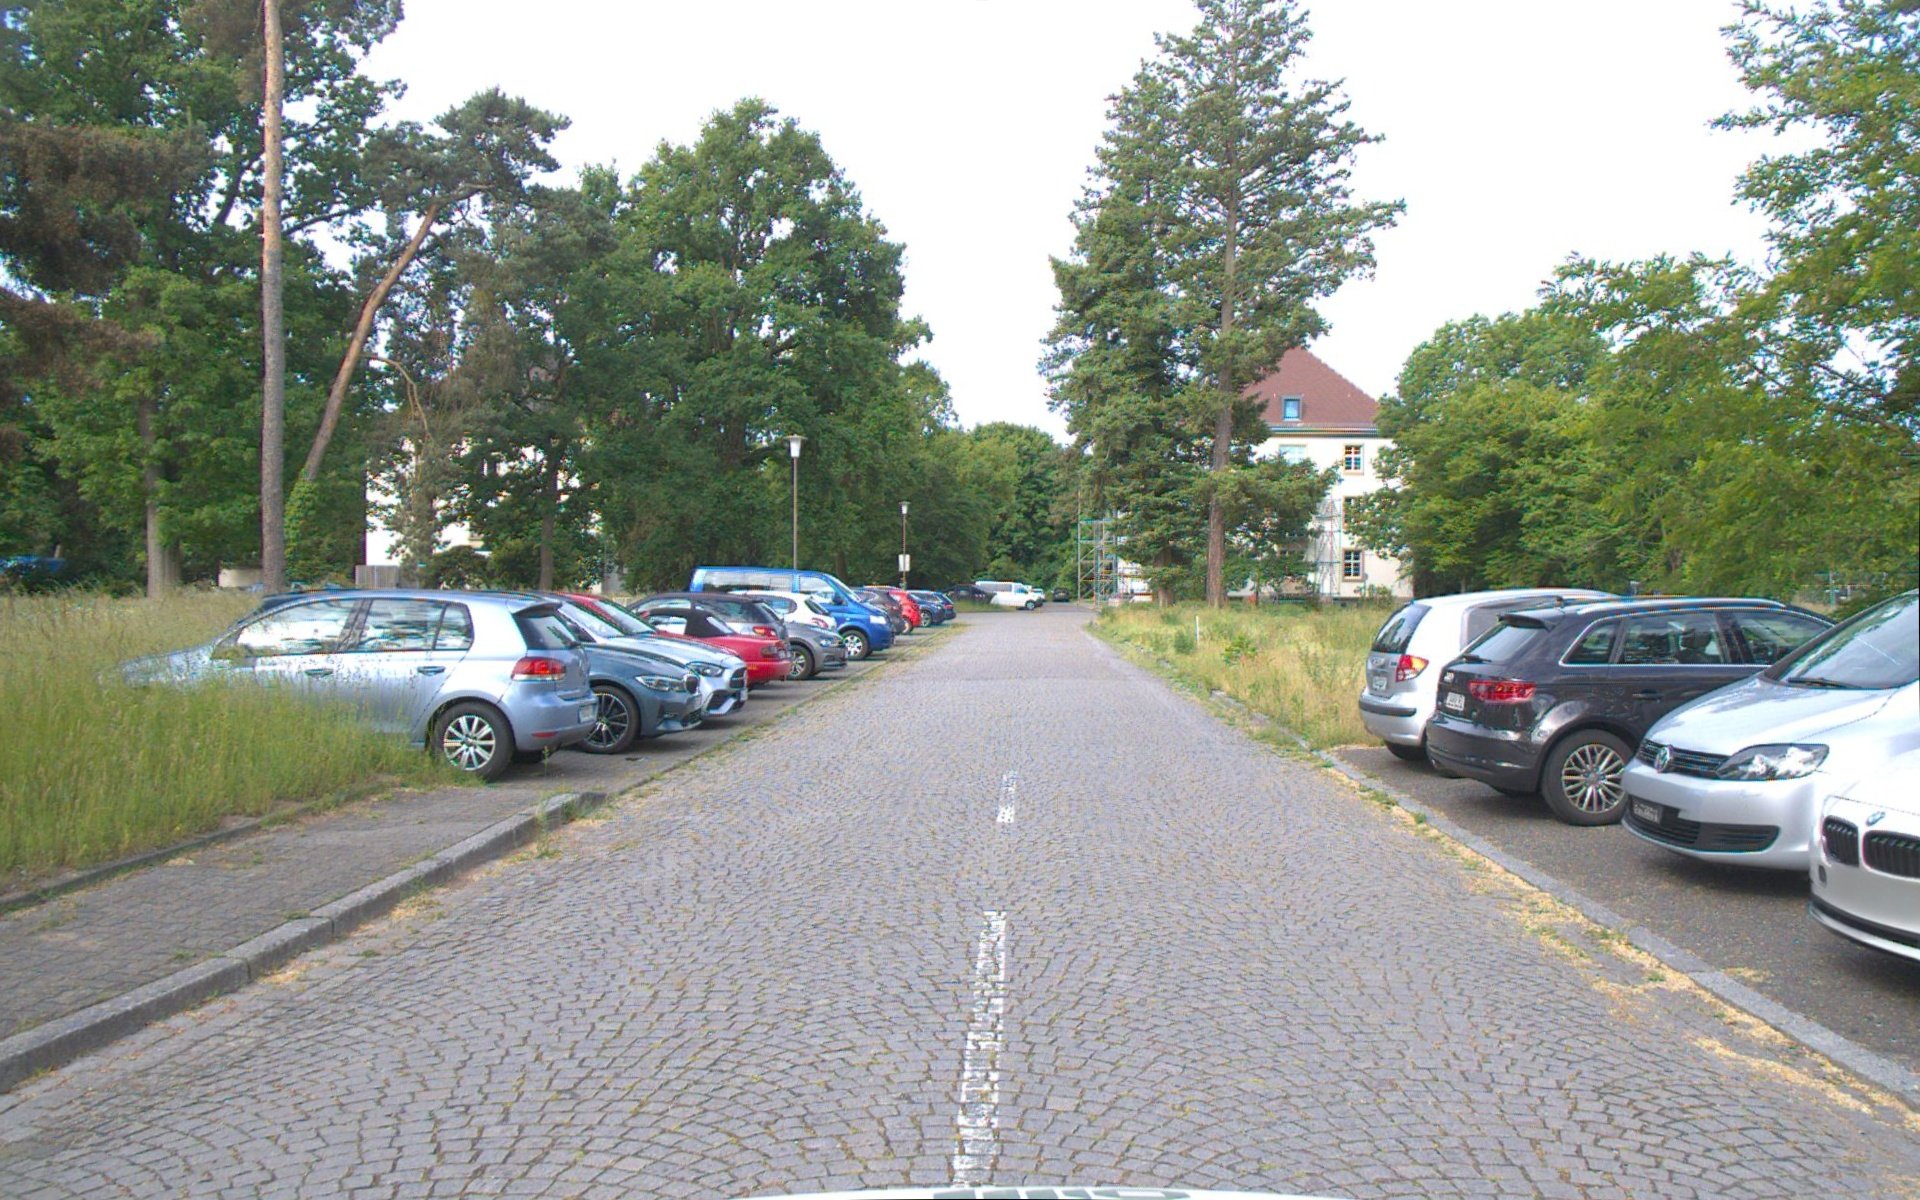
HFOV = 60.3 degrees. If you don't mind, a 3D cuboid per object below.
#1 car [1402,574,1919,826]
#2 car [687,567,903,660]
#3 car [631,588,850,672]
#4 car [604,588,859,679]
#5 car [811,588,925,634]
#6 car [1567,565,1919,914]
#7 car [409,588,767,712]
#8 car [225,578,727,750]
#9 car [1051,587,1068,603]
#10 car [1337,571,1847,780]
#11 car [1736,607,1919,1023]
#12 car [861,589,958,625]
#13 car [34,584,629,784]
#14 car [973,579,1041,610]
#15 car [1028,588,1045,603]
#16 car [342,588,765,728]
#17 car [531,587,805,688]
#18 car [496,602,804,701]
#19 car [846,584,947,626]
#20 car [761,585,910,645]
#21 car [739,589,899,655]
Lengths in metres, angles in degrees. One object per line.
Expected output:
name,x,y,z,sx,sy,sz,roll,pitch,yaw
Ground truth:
car,5.485,0.626,11.566,4.276,1.430,1.797,-3,1,1
car,-3.683,0.280,37.505,4.612,2.015,2.039,1,1,1
car,-4.221,0.560,32.220,3.921,1.528,1.844,1,1,4
car,-3.998,0.574,29.343,4.214,1.506,1.732,1,1,4
car,-3.120,0.368,56.690,3.737,1.515,1.788,1,1,1
car,5.738,0.590,8.867,4.243,1.602,1.826,-3,0,-3
car,-4.723,0.608,21.415,4.165,1.480,1.856,1,1,2
car,-4.655,0.604,16.413,4.409,1.564,1.870,1,0,-1
car,11.215,-0.553,186.568,1.753,1.750,4.061,0,-1,1
car,5.328,0.597,14.276,3.695,1.505,1.743,-3,1,-1
car,5.625,0.687,6.291,4.457,1.450,1.827,-3,0,-1
car,-2.166,0.307,71.617,3.985,1.493,1.627,1,1,6
car,-5.099,0.648,13.799,4.238,1.496,1.828,1,0,3
car,3.407,-0.424,120.430,4.875,2.109,2.052,1,-1,1
car,8.634,-0.513,186.344,1.753,1.665,4.061,0,-1,1
car,-4.584,0.637,19.099,4.344,1.481,1.950,1,0,3
car,-4.613,0.577,26.480,4.002,1.506,1.756,1,1,3
car,-4.379,0.709,23.788,4.045,1.305,1.764,1,1,2
car,-2.550,0.186,66.930,3.987,1.632,1.788,1,1,1
car,-3.454,0.411,46.377,3.984,1.602,1.955,1,1,1
car,-3.378,0.526,40.089,3.716,1.519,1.726,1,1,0
